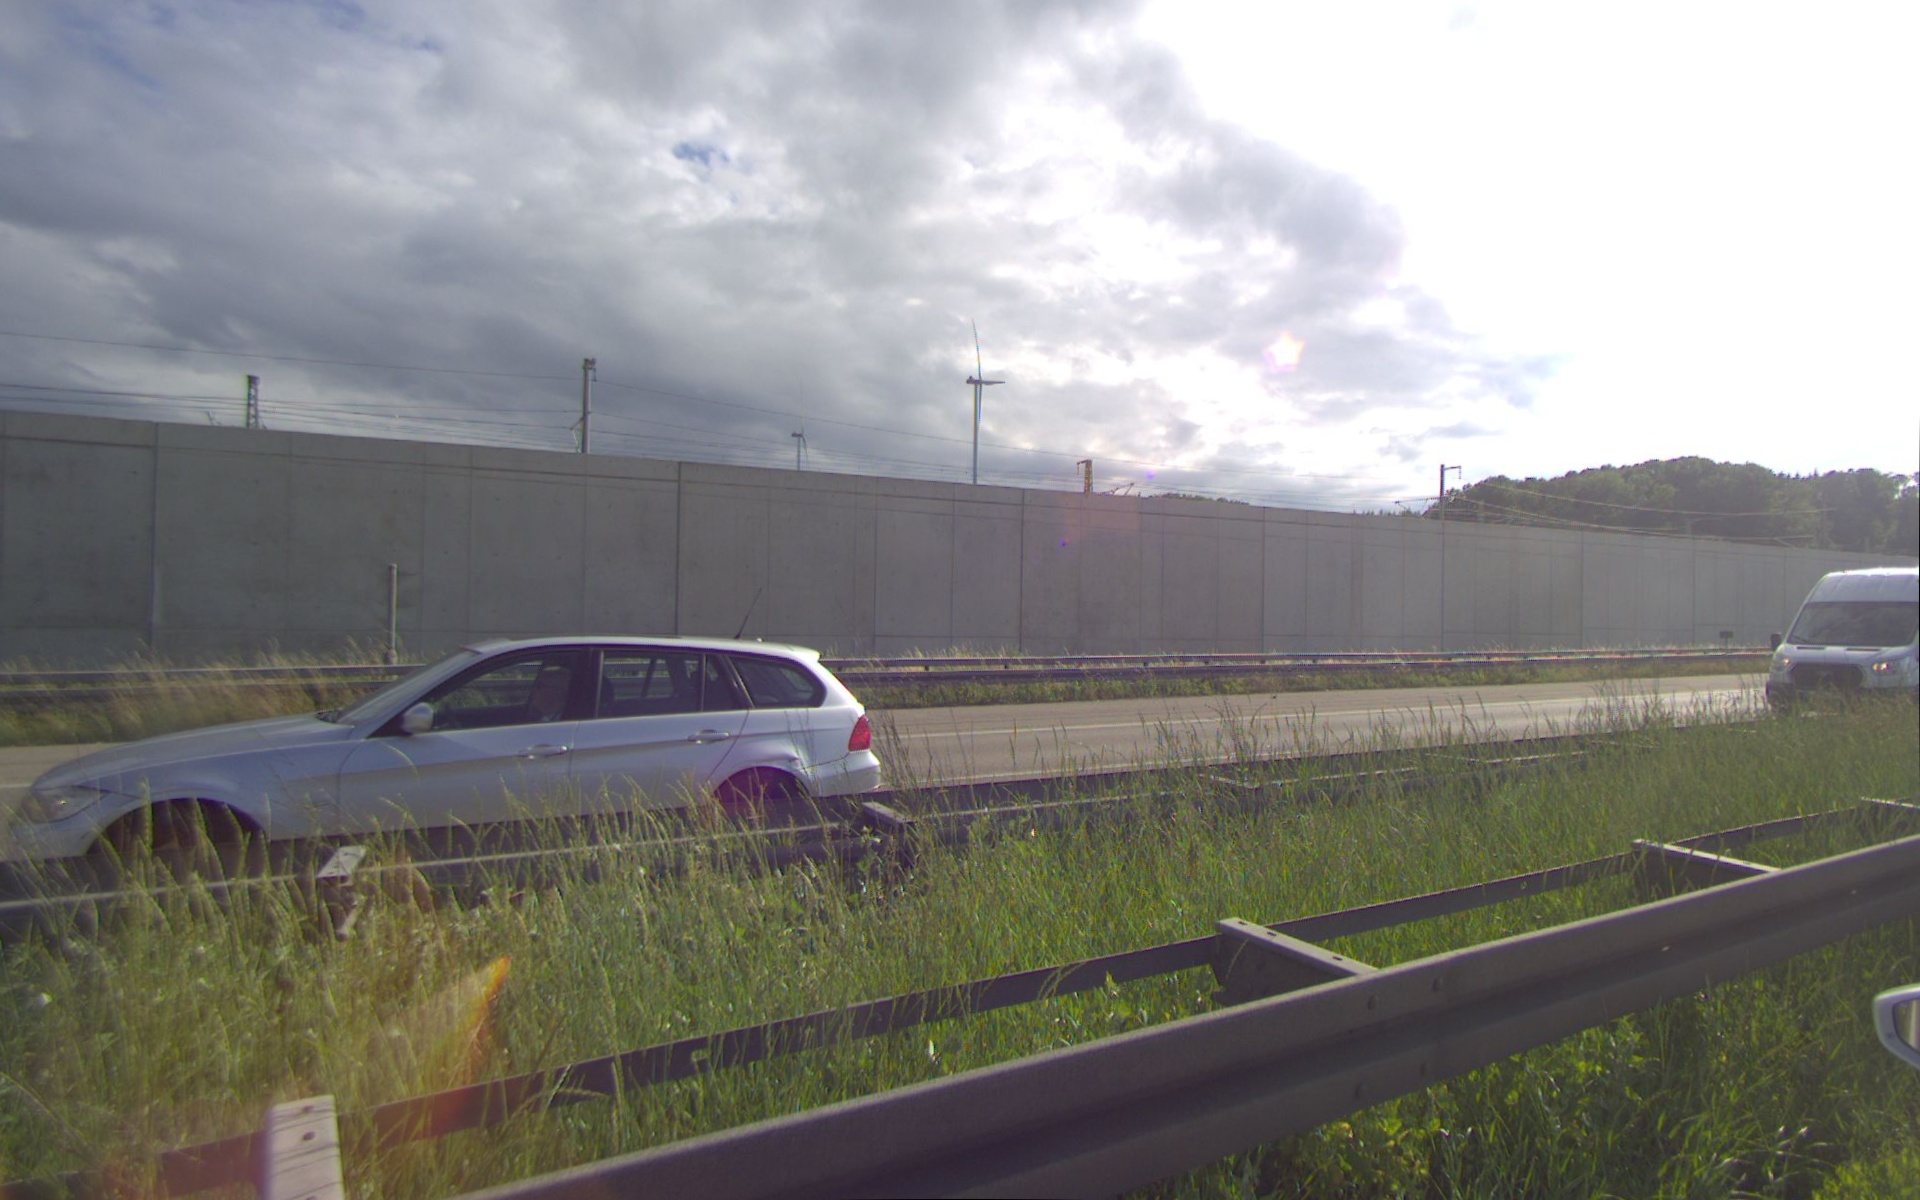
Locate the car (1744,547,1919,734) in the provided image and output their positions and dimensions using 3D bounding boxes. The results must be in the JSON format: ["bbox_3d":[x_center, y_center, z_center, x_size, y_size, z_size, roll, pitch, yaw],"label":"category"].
[{"bbox_3d":[16.506,0.705,17.946,5.571,2.908,2.093,2,-1,-31],"label":"car"}]

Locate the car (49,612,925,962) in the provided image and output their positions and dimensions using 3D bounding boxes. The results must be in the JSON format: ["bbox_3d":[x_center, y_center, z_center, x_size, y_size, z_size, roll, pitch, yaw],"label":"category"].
[{"bbox_3d":[-2.494,0.852,6.129,4.182,1.470,1.864,2,-1,-30],"label":"car"}]
